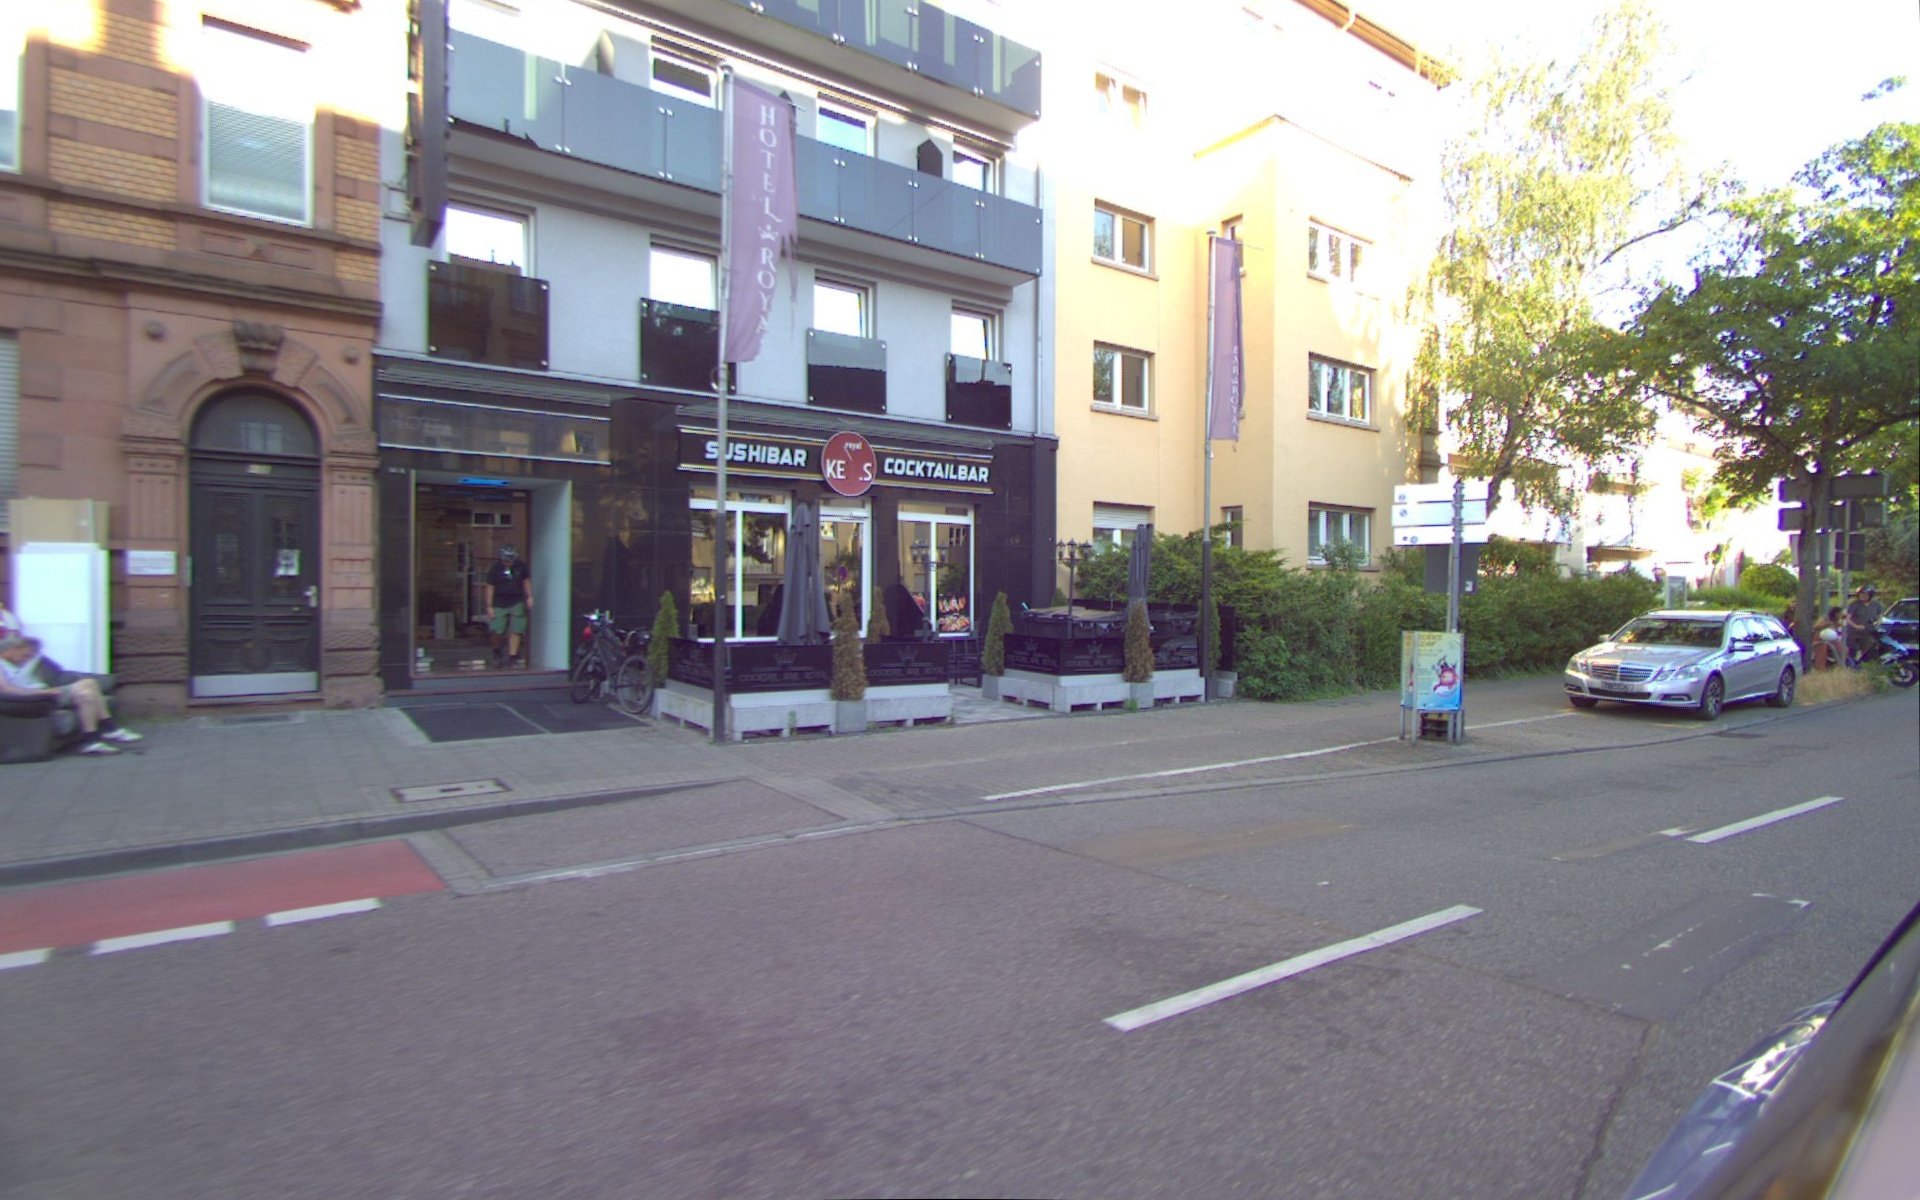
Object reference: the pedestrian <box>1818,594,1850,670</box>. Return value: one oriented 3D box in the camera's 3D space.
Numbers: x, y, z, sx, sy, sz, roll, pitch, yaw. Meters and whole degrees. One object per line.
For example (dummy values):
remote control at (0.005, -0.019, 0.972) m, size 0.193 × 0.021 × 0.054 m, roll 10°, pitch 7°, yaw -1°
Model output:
pedestrian at (17.106, 0.611, 19.804) m, size 0.438 × 1.448 × 0.693 m, roll -1°, pitch -1°, yaw 42°

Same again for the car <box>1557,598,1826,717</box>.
car at (11.315, 0.758, 15.550) m, size 4.742 × 1.531 × 1.862 m, roll 0°, pitch 1°, yaw -35°

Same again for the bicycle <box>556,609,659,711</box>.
bicycle at (-4.369, 0.709, 12.512) m, size 1.418 × 1.124 × 0.482 m, roll 3°, pitch 2°, yaw 37°

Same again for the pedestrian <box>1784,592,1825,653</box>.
pedestrian at (22.875, 0.598, 27.423) m, size 0.569 × 1.636 × 0.748 m, roll 0°, pitch 0°, yaw -37°

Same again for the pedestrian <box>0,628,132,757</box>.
pedestrian at (-8.055, 0.799, 9.046) m, size 0.926 × 1.056 × 0.693 m, roll 0°, pitch 0°, yaw -33°

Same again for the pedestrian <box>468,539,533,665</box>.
pedestrian at (-6.286, 0.030, 13.847) m, size 0.680 × 1.664 × 0.709 m, roll 0°, pitch 0°, yaw -36°

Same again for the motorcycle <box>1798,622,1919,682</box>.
motorcycle at (17.572, 0.986, 19.677) m, size 1.925 × 1.084 × 0.807 m, roll 0°, pitch 0°, yaw 43°

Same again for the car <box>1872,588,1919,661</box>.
car at (24.048, 0.554, 24.595) m, size 4.707 × 1.676 × 1.953 m, roll 0°, pitch 0°, yaw -37°

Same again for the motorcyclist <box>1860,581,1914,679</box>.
motorcyclist at (17.777, 0.555, 19.423) m, size 0.735 × 1.800 × 1.071 m, roll 0°, pitch -1°, yaw 42°
